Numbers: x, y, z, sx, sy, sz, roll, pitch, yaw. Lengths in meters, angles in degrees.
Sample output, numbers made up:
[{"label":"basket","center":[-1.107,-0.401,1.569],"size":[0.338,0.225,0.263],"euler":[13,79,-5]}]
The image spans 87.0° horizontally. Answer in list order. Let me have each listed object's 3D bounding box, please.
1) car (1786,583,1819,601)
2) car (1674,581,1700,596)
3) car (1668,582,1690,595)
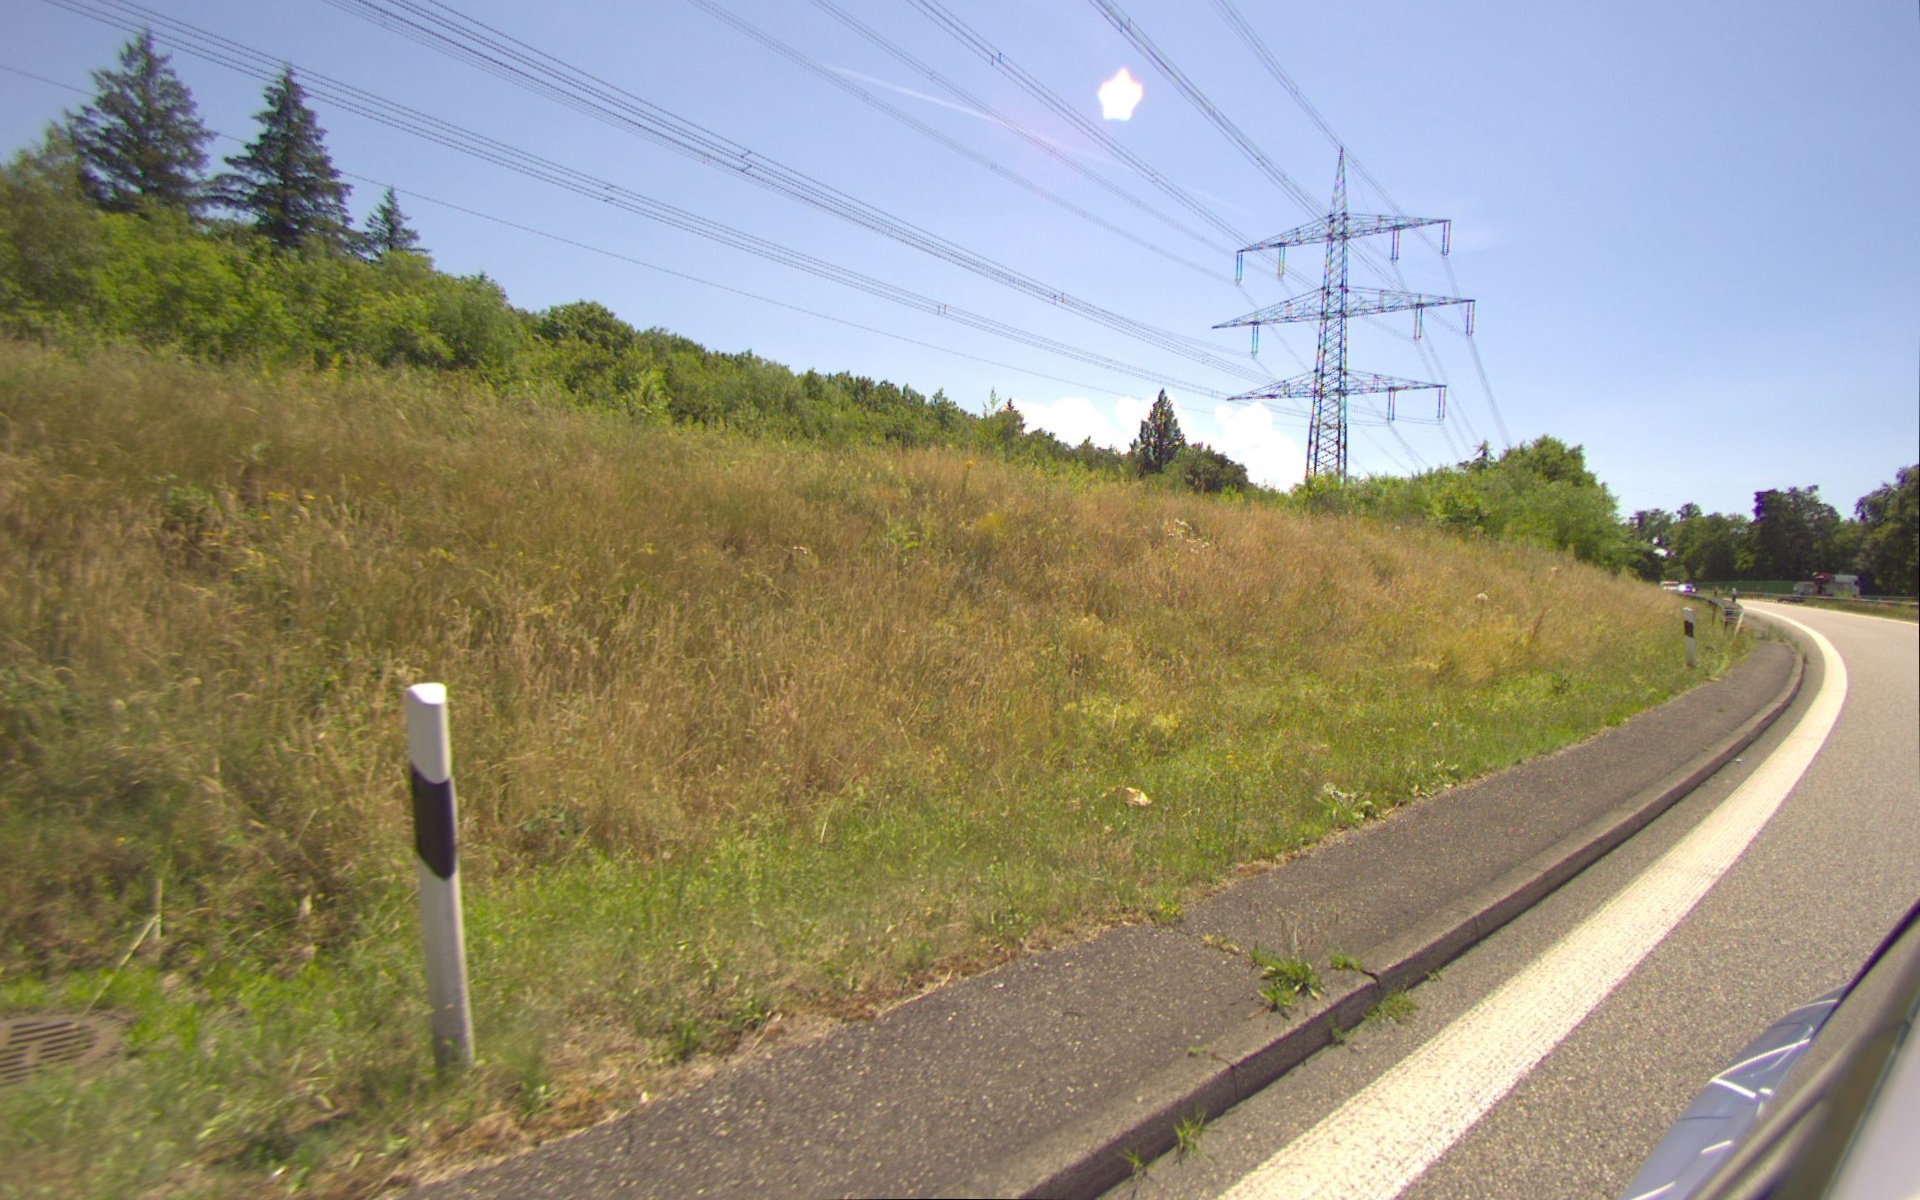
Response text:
[{"label":"car","center":[90.456,-0.898,108.698],"size":[1.986,1.660,5.211],"euler":[5,4,32]},{"label":"car","center":[88.164,-1.408,122.705],"size":[1.981,1.705,3.962],"euler":[1,1,28]},{"label":"car","center":[98.307,-1.544,138.377],"size":[1.982,1.705,3.961],"euler":[1,1,28]}]
